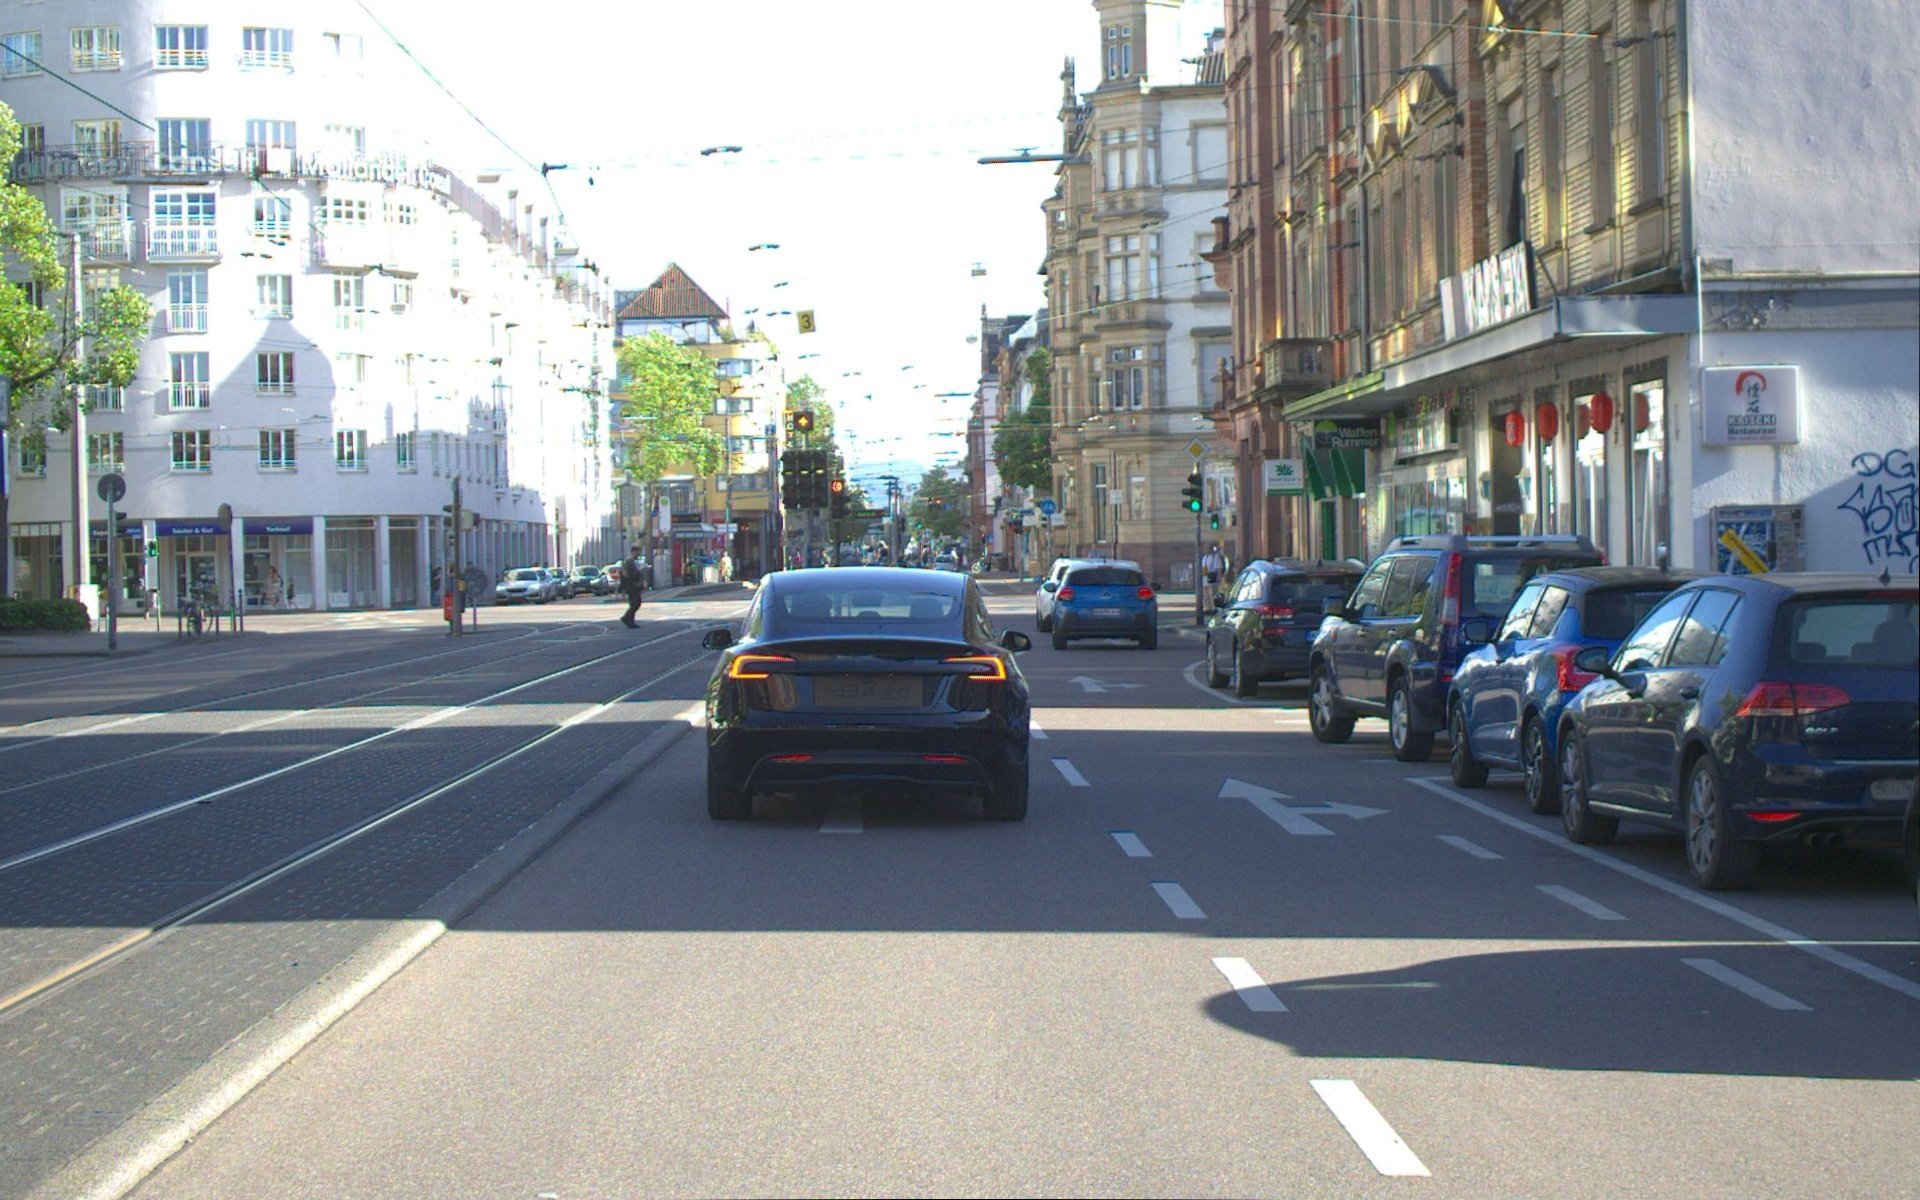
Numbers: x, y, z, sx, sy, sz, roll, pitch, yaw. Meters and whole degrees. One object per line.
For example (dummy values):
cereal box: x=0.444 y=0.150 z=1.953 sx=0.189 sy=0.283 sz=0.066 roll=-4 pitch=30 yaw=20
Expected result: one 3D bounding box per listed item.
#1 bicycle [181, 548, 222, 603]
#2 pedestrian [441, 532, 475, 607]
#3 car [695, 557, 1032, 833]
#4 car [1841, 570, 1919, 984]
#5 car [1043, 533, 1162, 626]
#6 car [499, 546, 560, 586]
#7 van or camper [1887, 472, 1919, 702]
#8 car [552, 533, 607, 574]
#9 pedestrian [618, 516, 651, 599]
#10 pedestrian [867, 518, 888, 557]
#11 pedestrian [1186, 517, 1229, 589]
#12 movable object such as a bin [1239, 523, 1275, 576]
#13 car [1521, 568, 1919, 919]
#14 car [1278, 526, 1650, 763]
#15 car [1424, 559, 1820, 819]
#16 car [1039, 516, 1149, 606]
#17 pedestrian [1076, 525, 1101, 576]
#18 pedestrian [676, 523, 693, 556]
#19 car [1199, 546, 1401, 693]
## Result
bicycle: x=-17.361 y=-0.571 z=78.700 sx=0.497 sy=1.182 sz=2.236 roll=-1 pitch=2 yaw=-2
pedestrian: x=-10.391 y=-0.635 z=71.169 sx=0.500 sy=1.512 sz=0.859 roll=-3 pitch=2 yaw=-1
car: x=-0.565 y=0.493 z=20.749 sx=1.810 sy=1.419 sz=4.154 roll=1 pitch=1 yaw=-1
car: x=4.270 y=0.668 z=11.643 sx=1.571 sy=1.478 sz=3.558 roll=1 pitch=1 yaw=-1
car: x=2.353 y=-0.361 z=57.426 sx=1.781 sy=1.446 sz=3.654 roll=1 pitch=2 yaw=0
car: x=-17.042 y=-1.346 z=136.301 sx=1.993 sy=1.446 sz=4.503 roll=-1 pitch=2 yaw=-2
van or camper: x=10.330 y=-0.235 z=28.499 sx=4.693 sy=1.926 sz=2.000 roll=-3 pitch=2 yaw=3
car: x=-18.005 y=-2.221 z=162.918 sx=2.227 sy=1.904 sz=4.609 roll=-1 pitch=1 yaw=-2
pedestrian: x=-6.999 y=-0.922 z=74.024 sx=0.558 sy=1.757 sz=0.895 roll=-3 pitch=2 yaw=-1
pedestrian: x=-3.779 y=-2.861 z=157.690 sx=0.718 sy=1.771 sz=0.564 roll=0 pitch=2 yaw=35
pedestrian: x=5.555 y=-1.052 z=77.143 sx=0.681 sy=1.602 sz=0.731 roll=-2 pitch=2 yaw=-24
movable object such as a bin: x=6.240 y=-1.068 z=72.224 sx=0.663 sy=1.069 sz=0.591 roll=-4 pitch=1 yaw=2
car: x=4.028 y=0.611 z=17.056 sx=1.698 sy=1.478 sz=4.227 roll=1 pitch=1 yaw=-1
car: x=3.898 y=0.281 z=27.415 sx=1.690 sy=1.707 sz=4.617 roll=1 pitch=1 yaw=-8
car: x=4.120 y=0.499 z=21.961 sx=1.713 sy=1.449 sz=3.778 roll=1 pitch=1 yaw=-1
car: x=2.657 y=-0.776 z=68.912 sx=1.993 sy=1.737 sz=4.000 roll=1 pitch=1 yaw=-1
pedestrian: x=4.572 y=-1.754 z=121.895 sx=0.779 sy=1.743 sz=1.093 roll=0 pitch=3 yaw=-3
pedestrian: x=-12.854 y=-2.820 z=160.194 sx=0.731 sy=1.522 sz=0.743 roll=0 pitch=2 yaw=-2
car: x=3.689 y=0.172 z=37.978 sx=1.690 sy=1.446 sz=4.360 roll=1 pitch=2 yaw=-1
